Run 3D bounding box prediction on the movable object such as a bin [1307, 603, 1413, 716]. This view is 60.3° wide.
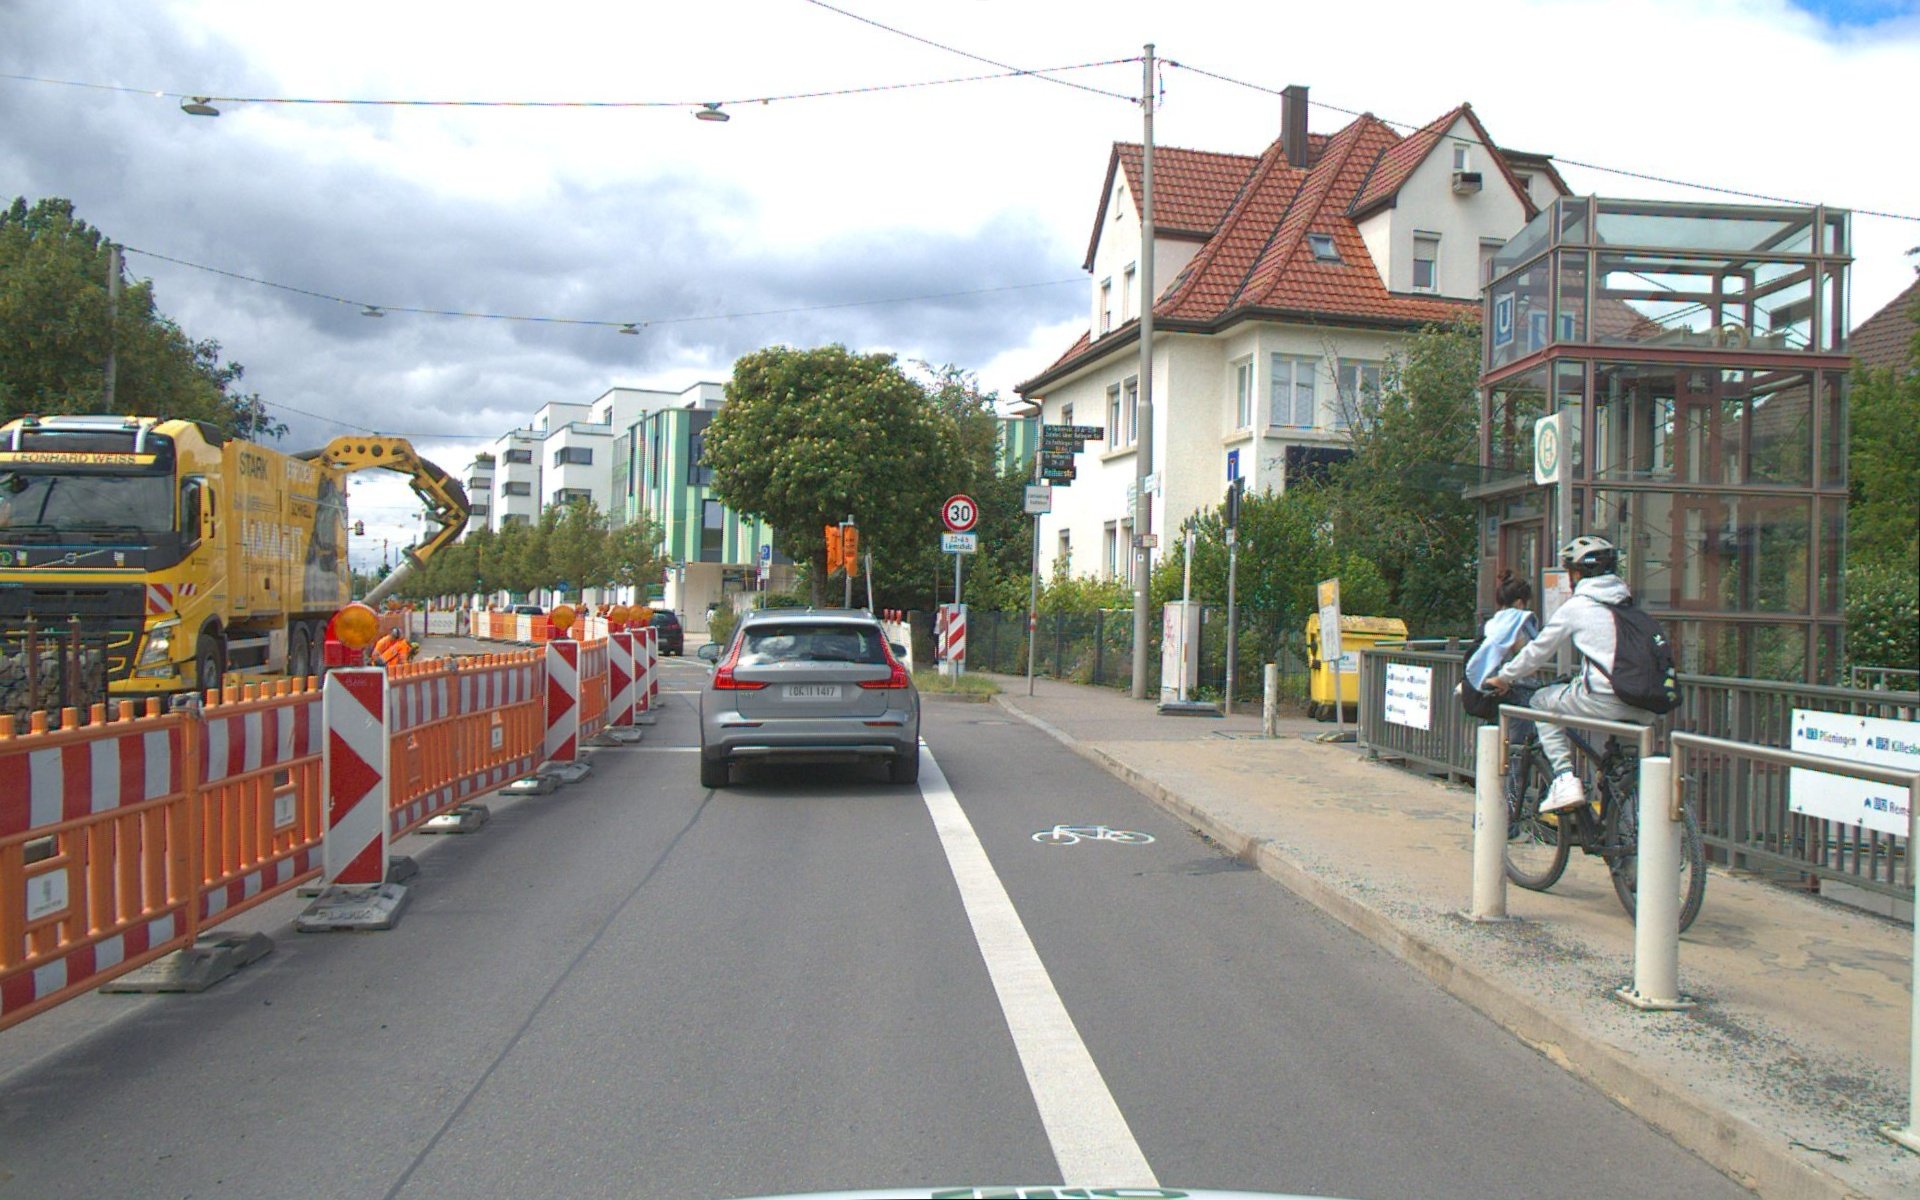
[{"bbox_3d":[5.541,0.807,22.984,1.241,1.496,1.005,2,-1,3],"label":"movable object such as a bin"}]

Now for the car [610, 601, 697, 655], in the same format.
[{"bbox_3d":[-9.652,0.850,51.894,1.829,1.539,3.972,3,-1,-23],"label":"car"}]

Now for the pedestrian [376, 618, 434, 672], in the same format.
[{"bbox_3d":[-10.494,0.844,31.294,0.774,1.008,0.812,0,0,6],"label":"pedestrian"}]

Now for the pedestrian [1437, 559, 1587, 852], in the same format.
[{"bbox_3d":[3.216,0.609,9.655,0.586,1.610,0.401,7,-3,-4],"label":"pedestrian"}]

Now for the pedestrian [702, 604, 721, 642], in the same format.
[{"bbox_3d":[-10.449,0.975,69.536,0.573,1.579,0.863,1,-1,-22],"label":"pedestrian"}]

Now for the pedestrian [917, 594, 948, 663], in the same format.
[{"bbox_3d":[-0.636,0.656,38.003,0.620,1.567,0.522,0,0,8],"label":"pedestrian"}]

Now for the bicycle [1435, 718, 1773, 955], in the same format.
[{"bbox_3d":[2.838,1.007,7.551,0.623,0.766,2.061,2,0,-3],"label":"bicycle"}]

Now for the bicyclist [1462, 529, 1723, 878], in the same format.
[{"bbox_3d":[2.821,0.430,7.491,0.643,1.440,1.178,1,0,-4],"label":"bicyclist"}]

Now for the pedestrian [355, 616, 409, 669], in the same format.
[{"bbox_3d":[-11.139,0.812,31.888,0.627,1.008,0.794,0,0,16],"label":"pedestrian"}]

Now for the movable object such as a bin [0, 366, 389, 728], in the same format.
[{"bbox_3d":[-11.205,-0.614,25.247,2.542,4.295,11.100,0,0,-8],"label":"movable object such as a bin"}]

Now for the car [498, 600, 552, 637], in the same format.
[{"bbox_3d":[-19.826,0.826,75.282,1.820,1.539,3.972,3,-1,-23],"label":"car"}]

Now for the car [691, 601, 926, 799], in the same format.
[{"bbox_3d":[-1.270,0.785,14.901,1.817,1.539,3.998,0,0,-3],"label":"car"}]
